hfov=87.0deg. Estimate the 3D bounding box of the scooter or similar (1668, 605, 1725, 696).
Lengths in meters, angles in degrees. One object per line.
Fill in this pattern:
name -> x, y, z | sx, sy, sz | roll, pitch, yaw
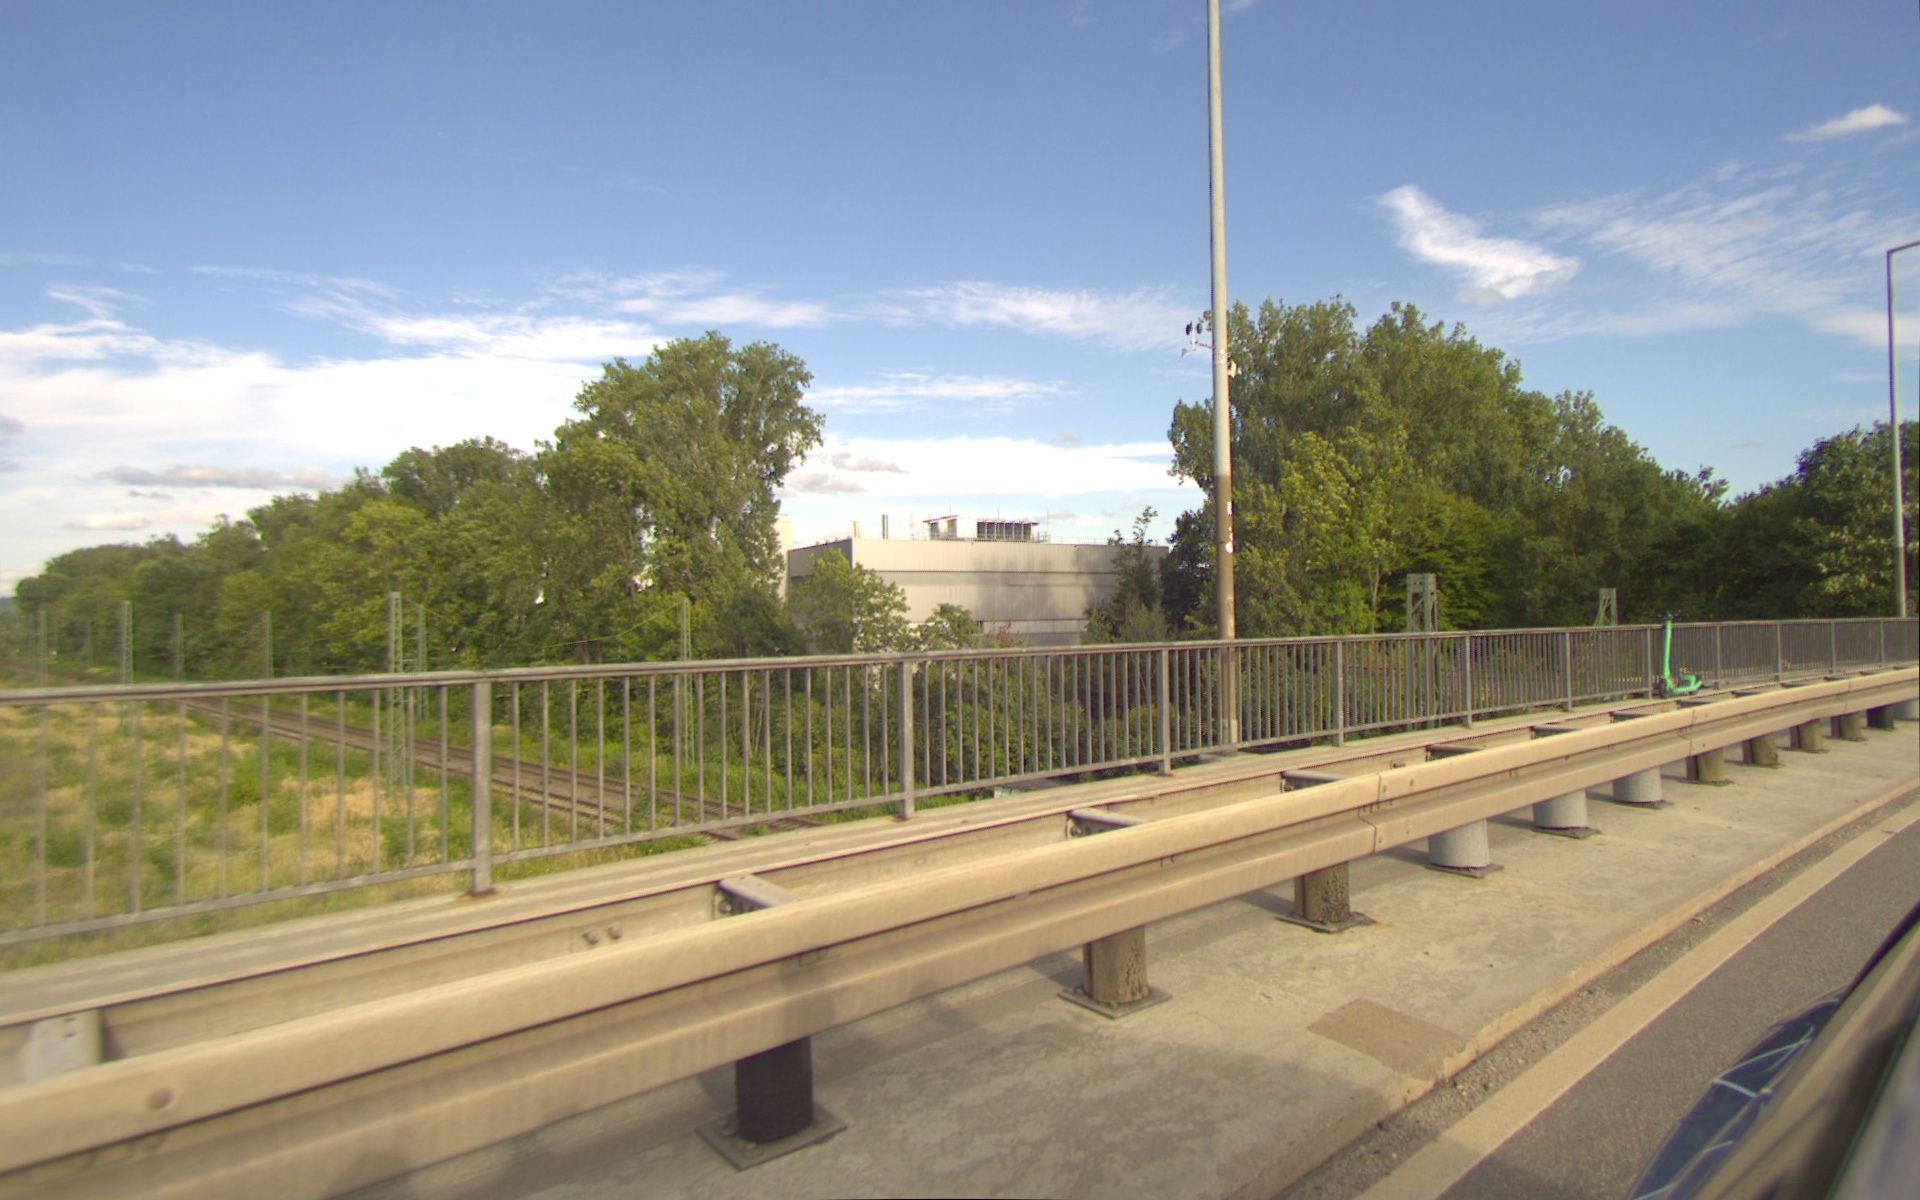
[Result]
scooter or similar -> 10.044, 0.668, 13.797 | 1.166, 1.176, 0.266 | 0, 1, -36
